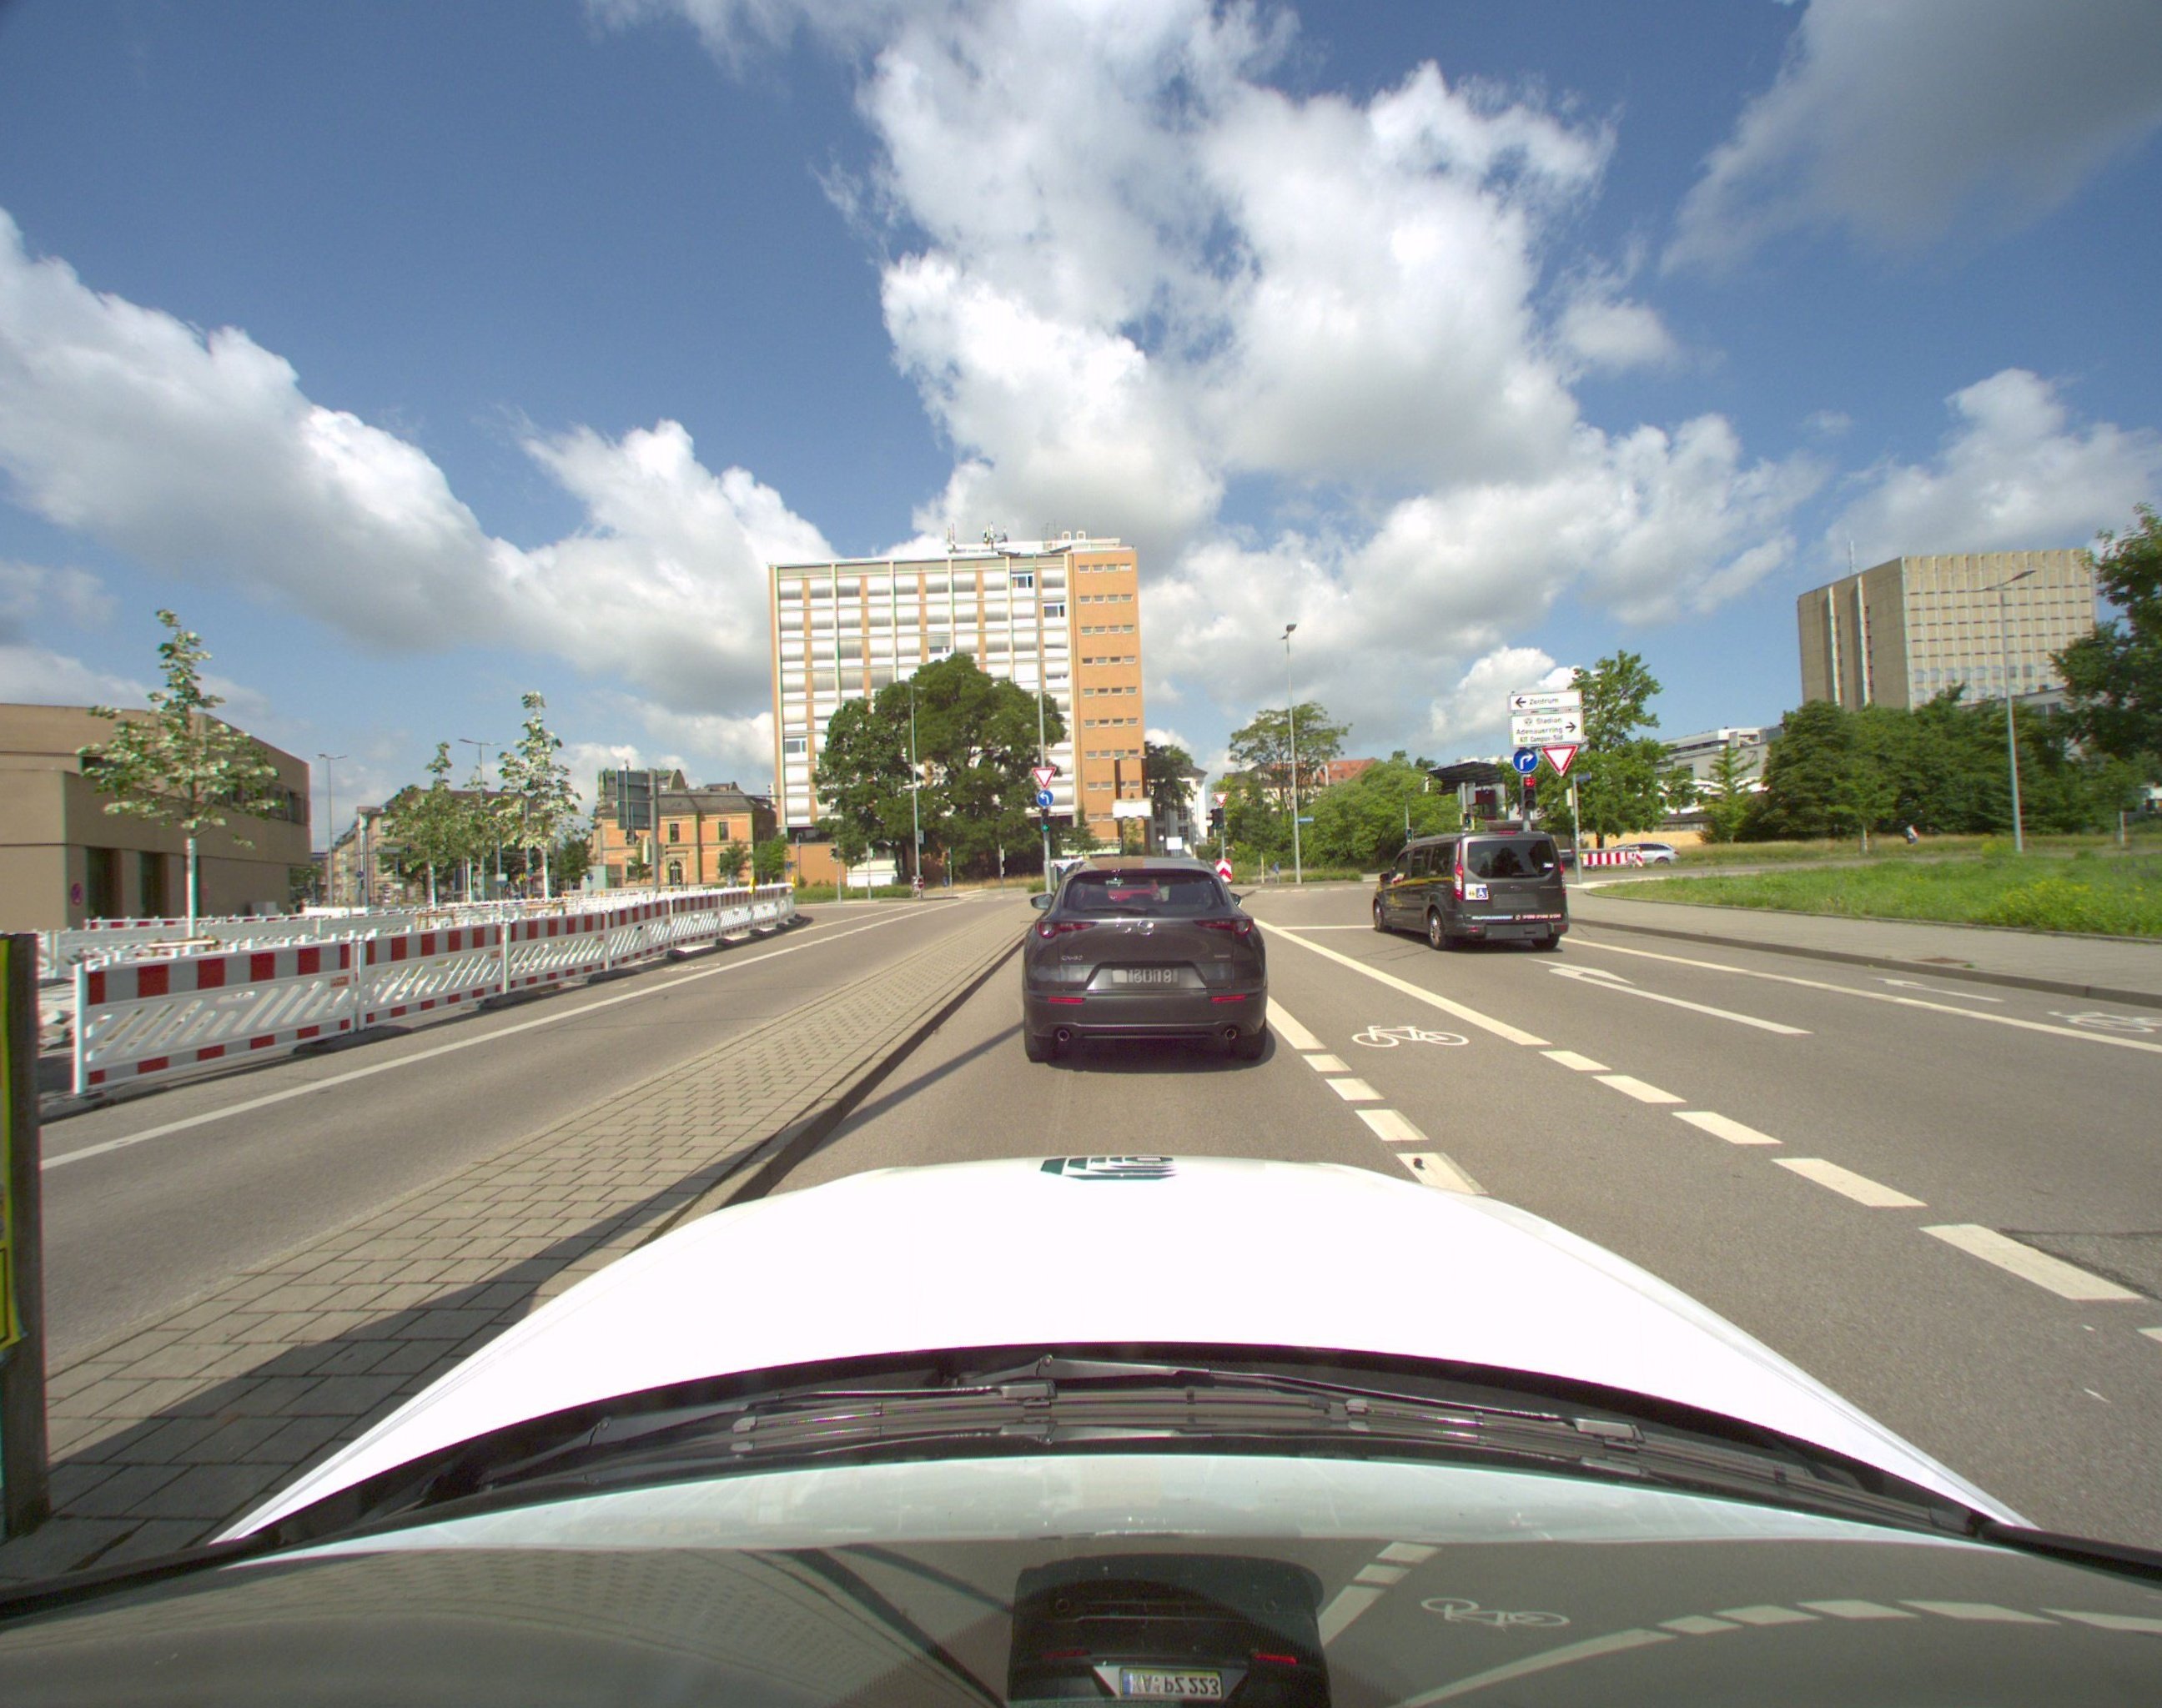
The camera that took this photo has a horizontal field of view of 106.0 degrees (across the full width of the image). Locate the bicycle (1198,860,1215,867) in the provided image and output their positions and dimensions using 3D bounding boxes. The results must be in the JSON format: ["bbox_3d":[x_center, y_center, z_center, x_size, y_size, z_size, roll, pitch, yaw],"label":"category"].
[{"bbox_3d":[16.986,1.296,110.293,2.048,0.936,0.804,-3,-1,1],"label":"bicycle"}]

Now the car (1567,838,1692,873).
[{"bbox_3d":[27.371,0.086,40.795,4.739,1.442,2.066,-3,-3,6],"label":"car"}]

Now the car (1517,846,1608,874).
[{"bbox_3d":[28.287,0.343,47.938,4.128,1.377,2.002,-3,0,4],"label":"car"}]

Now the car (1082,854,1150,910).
[{"bbox_3d":[1.097,0.795,24.924,1.840,1.472,4.338,-3,-1,3],"label":"car"}]

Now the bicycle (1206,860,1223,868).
[{"bbox_3d":[17.327,1.249,105.513,2.048,0.936,0.804,-3,-1,1],"label":"bicycle"}]

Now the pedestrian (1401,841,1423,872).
[{"bbox_3d":[20.930,0.168,51.461,0.696,1.857,1.177,-3,-1,-8],"label":"pedestrian"}]

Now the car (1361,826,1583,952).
[{"bbox_3d":[6.438,0.514,14.082,1.840,1.785,4.677,-1,0,4],"label":"car"}]

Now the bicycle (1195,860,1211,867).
[{"bbox_3d":[17.262,1.336,115.149,2.048,0.936,0.804,-3,-1,1],"label":"bicycle"}]

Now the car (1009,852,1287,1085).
[{"bbox_3d":[0.503,0.751,7.395,1.799,1.508,4.206,0,0,2],"label":"car"}]

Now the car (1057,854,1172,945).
[{"bbox_3d":[0.678,0.769,14.930,1.808,1.439,4.071,0,-1,4],"label":"car"}]
